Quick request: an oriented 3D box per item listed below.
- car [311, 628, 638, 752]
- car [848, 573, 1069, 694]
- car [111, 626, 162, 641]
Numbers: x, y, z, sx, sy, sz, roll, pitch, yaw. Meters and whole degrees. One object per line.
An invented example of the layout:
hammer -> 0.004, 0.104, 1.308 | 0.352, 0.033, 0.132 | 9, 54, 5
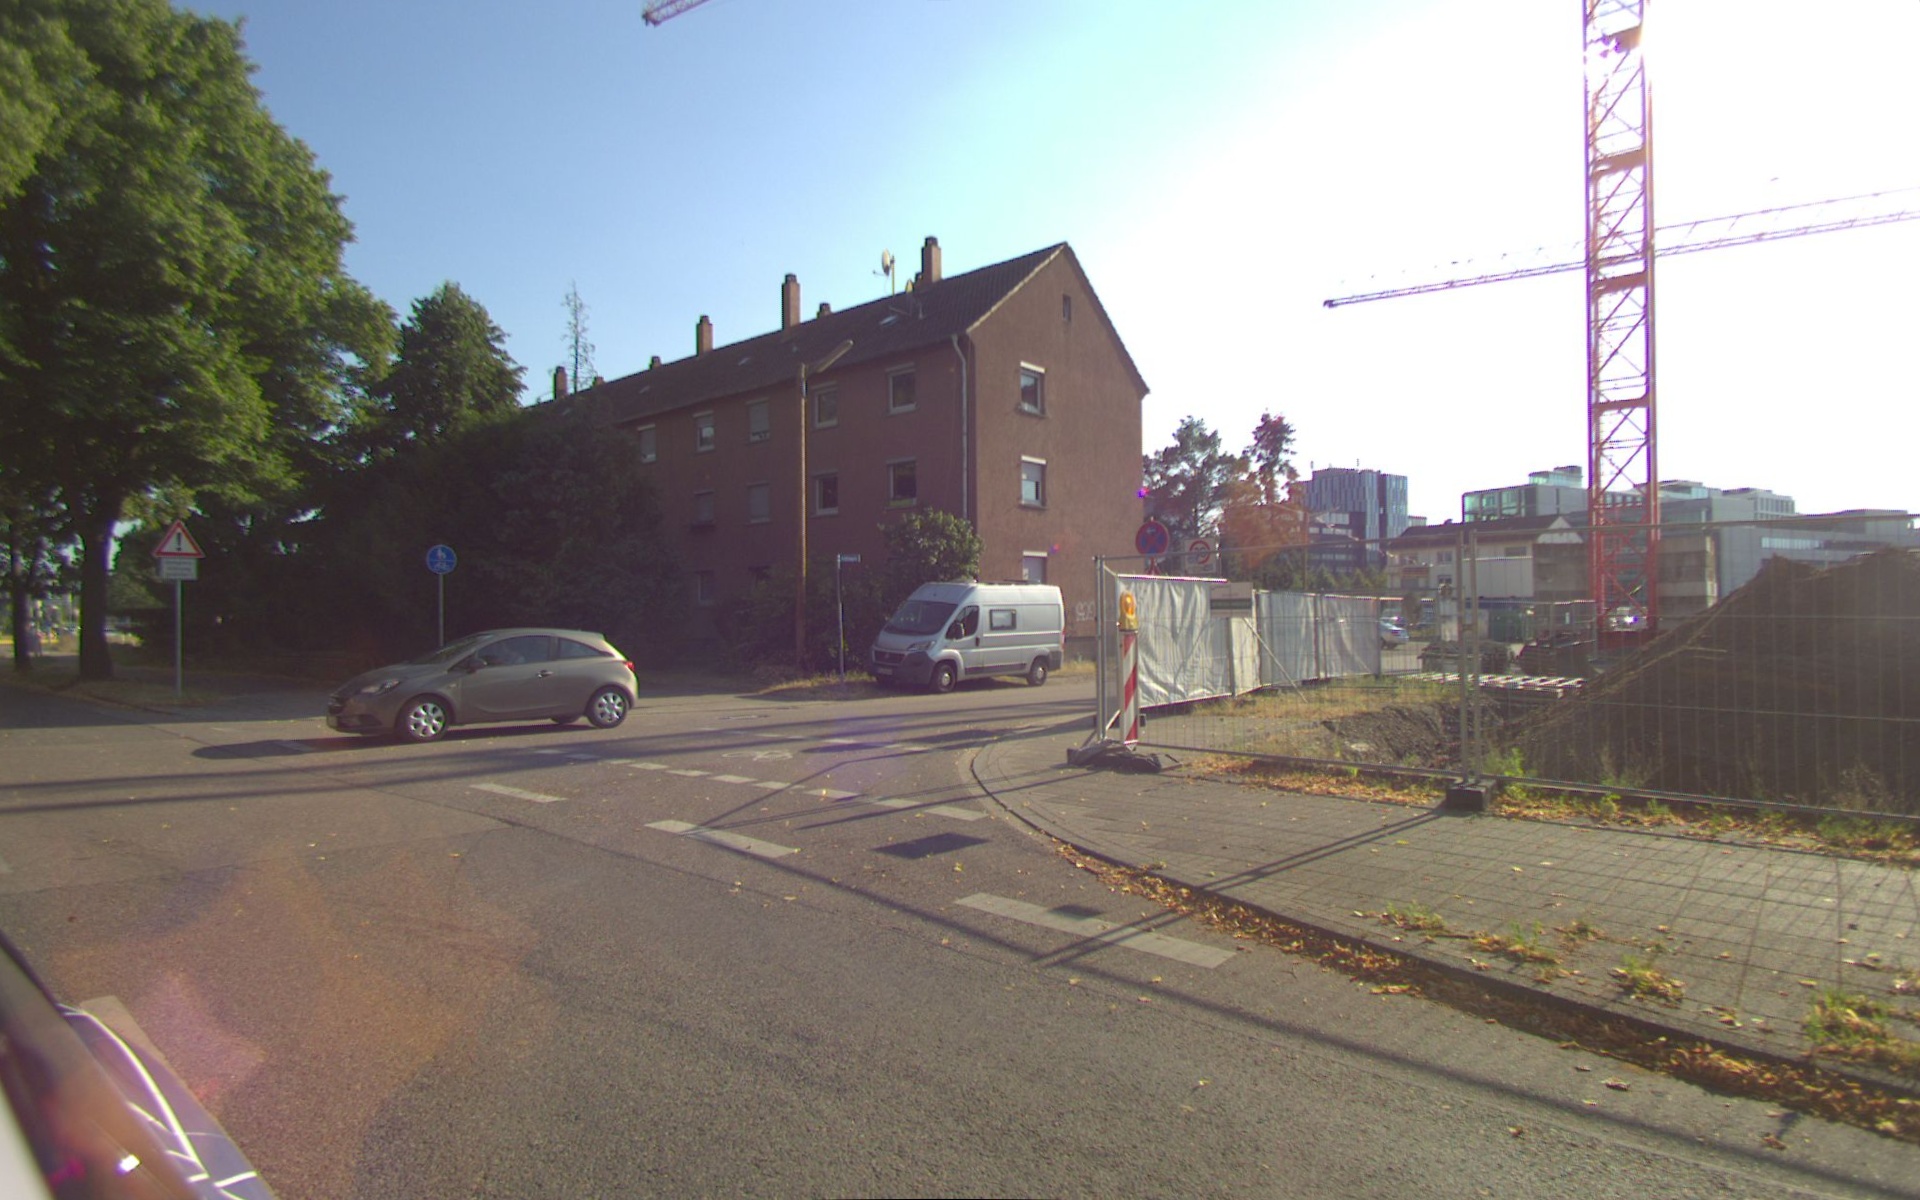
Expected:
car -> -6.650, 1.135, 14.115 | 3.798, 1.484, 1.652 | 1, -2, -44
car -> 0.090, 0.778, 24.070 | 2.170, 2.486, 5.249 | 4, 1, 43
car -> -89.145, 3.637, 109.566 | 1.764, 1.542, 3.976 | -1, -2, 18
